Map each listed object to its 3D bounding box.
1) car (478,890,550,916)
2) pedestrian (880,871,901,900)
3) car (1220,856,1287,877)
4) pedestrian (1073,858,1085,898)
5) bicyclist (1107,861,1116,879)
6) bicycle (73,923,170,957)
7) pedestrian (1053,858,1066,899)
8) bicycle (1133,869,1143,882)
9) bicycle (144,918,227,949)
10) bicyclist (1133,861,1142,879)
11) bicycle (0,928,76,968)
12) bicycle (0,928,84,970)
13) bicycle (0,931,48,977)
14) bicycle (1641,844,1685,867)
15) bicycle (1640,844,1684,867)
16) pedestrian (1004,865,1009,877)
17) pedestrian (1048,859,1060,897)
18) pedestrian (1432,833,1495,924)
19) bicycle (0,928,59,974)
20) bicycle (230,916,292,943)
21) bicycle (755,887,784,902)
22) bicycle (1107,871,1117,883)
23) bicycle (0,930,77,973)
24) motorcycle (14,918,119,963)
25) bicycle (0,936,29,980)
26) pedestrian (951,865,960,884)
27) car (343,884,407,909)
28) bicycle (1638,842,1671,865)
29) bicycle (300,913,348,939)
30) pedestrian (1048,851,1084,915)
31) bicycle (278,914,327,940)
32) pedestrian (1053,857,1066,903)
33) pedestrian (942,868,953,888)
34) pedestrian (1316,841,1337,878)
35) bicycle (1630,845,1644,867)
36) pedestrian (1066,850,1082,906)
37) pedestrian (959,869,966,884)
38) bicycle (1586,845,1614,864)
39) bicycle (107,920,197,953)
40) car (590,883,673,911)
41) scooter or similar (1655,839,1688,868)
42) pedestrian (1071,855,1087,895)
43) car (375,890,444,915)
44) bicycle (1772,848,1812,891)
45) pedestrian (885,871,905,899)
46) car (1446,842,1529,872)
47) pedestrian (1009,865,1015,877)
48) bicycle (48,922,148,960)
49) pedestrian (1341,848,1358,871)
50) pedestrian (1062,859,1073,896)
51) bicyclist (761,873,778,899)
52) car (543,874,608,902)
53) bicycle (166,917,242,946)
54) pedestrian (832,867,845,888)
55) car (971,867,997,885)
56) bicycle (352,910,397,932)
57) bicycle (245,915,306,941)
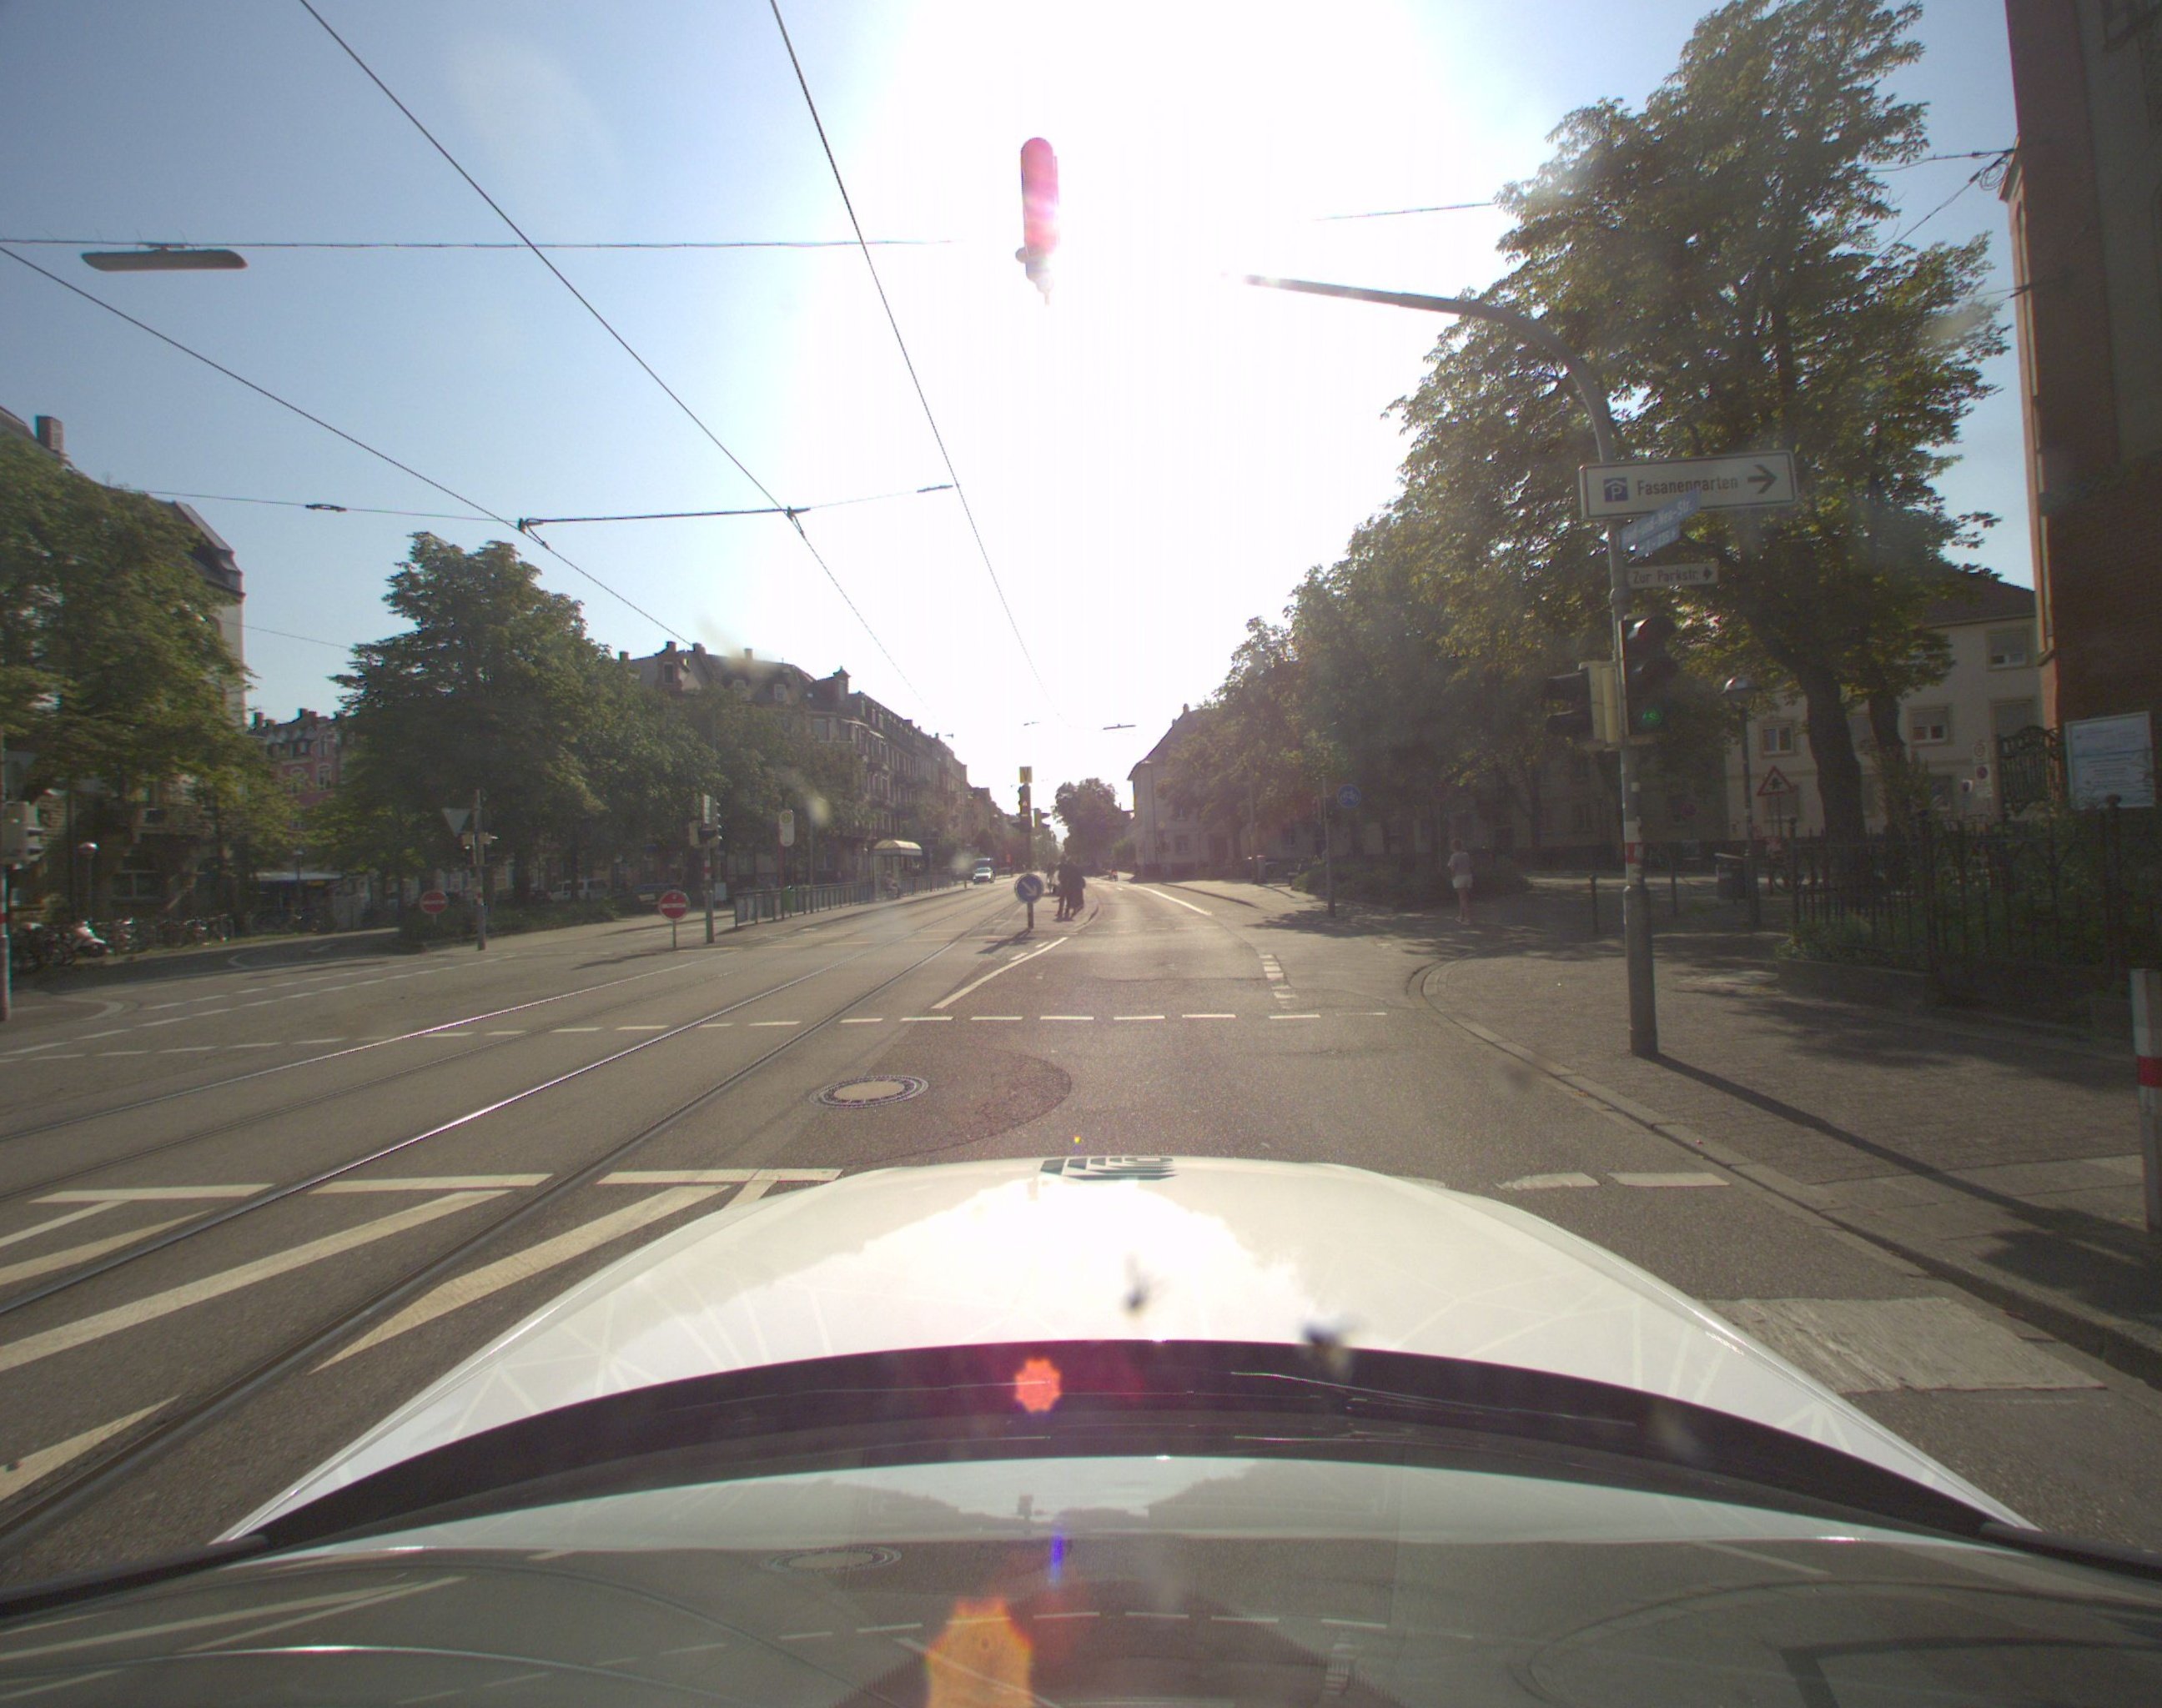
[{"bbox_3d":[-39.319,3.397,56.468,4.284,1.569,2.011,-3,-1,22],"label":"car"},{"bbox_3d":[-9.210,1.505,39.448,0.826,1.359,0.775,-3,-1,-4],"label":"pedestrian"},{"bbox_3d":[12.537,0.911,59.442,4.280,1.320,2.013,-3,-1,39],"label":"car"},{"bbox_3d":[-0.086,1.068,36.617,0.502,1.759,0.534,0,1,0],"label":"pedestrian"},{"bbox_3d":[2.567,1.332,68.030,0.627,1.507,0.678,-3,-1,-2],"label":"bicyclist"},{"bbox_3d":[-31.389,2.805,26.679,1.919,0.935,0.730,-1,-2,-34],"label":"bicycle"},{"bbox_3d":[-0.943,1.082,35.810,0.541,1.759,0.534,0,1,0],"label":"pedestrian"},{"bbox_3d":[4.437,1.643,63.467,0.556,0.978,1.855,-3,-1,-1],"label":"bicycle"},{"bbox_3d":[-32.340,2.858,29.441,1.908,0.980,0.679,-1,-2,-34],"label":"bicycle"},{"bbox_3d":[4.411,1.230,63.487,0.556,1.417,0.871,-3,-1,-1],"label":"bicyclist"},{"bbox_3d":[-28.951,2.583,22.226,1.814,0.977,0.652,-1,-2,-41],"label":"bicycle"},{"bbox_3d":[-28.091,2.533,21.714,1.814,0.983,0.652,-1,-2,-41],"label":"bicycle"},{"bbox_3d":[-25.304,2.345,18.727,0.562,1.003,1.890,-4,-2,36],"label":"bicycle"},{"bbox_3d":[26.779,0.071,37.482,1.539,0.978,0.427,-3,-1,15],"label":"bicycle"},{"bbox_3d":[26.945,0.055,37.785,1.539,0.978,0.427,-3,-1,15],"label":"bicycle"},{"bbox_3d":[-11.735,2.684,128.542,0.750,1.731,0.769,-3,-1,-9],"label":"pedestrian"},{"bbox_3d":[-1.274,1.118,38.037,0.530,1.759,0.545,0,1,1],"label":"pedestrian"},{"bbox_3d":[7.583,0.483,16.157,0.750,1.731,0.769,-3,-1,-9],"label":"pedestrian"},{"bbox_3d":[-26.368,2.401,19.750,1.888,1.034,0.563,-1,-2,-39],"label":"bicycle"},{"bbox_3d":[-35.068,3.211,34.848,1.771,0.978,0.516,-3,-1,-22],"label":"bicycle"},{"bbox_3d":[-23.063,2.973,60.324,1.954,0.978,0.490,-2,-1,-45],"label":"bicycle"},{"bbox_3d":[2.588,1.892,68.024,0.627,0.978,1.769,-3,-1,-1],"label":"bicycle"},{"bbox_3d":[-27.232,2.506,20.879,1.814,0.984,0.563,-1,-2,-41],"label":"bicycle"},{"bbox_3d":[-30.494,2.587,24.511,1.882,1.154,0.601,-1,-2,-34],"label":"motorcycle"},{"bbox_3d":[-24.253,2.326,17.711,0.473,0.920,1.619,-3,-2,30],"label":"bicycle"},{"bbox_3d":[-12.065,1.990,78.419,0.750,1.731,0.769,-3,-1,-9],"label":"pedestrian"},{"bbox_3d":[-59.087,3.544,68.170,3.959,1.828,2.007,-3,-1,12],"label":"car"},{"bbox_3d":[27.603,-0.007,39.165,1.555,1.039,0.423,-3,-1,-19],"label":"bicycle"},{"bbox_3d":[-33.592,3.185,36.155,0.423,0.978,1.770,-3,-1,0],"label":"bicycle"},{"bbox_3d":[-0.417,0.794,22.837,0.693,1.725,0.753,1,2,33],"label":"pedestrian"},{"bbox_3d":[-33.964,3.187,35.567,0.423,0.978,1.770,-3,-1,0],"label":"bicycle"},{"bbox_3d":[-0.834,1.012,31.802,0.502,1.759,0.534,0,1,0],"label":"pedestrian"},{"bbox_3d":[-12.002,2.168,73.148,0.747,1.731,0.772,-3,-1,2],"label":"pedestrian"},{"bbox_3d":[12.142,0.264,40.260,0.884,1.740,0.780,-3,-1,18],"label":"pedestrian"},{"bbox_3d":[26.679,0.100,39.047,0.420,0.978,1.566,-3,-1,38],"label":"bicycle"},{"bbox_3d":[-0.222,0.799,27.103,0.502,1.834,0.534,0,1,0],"label":"pedestrian"},{"bbox_3d":[-13.892,2.697,95.797,0.750,1.731,0.769,-3,-1,-9],"label":"pedestrian"},{"bbox_3d":[27.934,0.041,43.822,0.423,0.978,1.554,-3,-1,-2],"label":"bicycle"},{"bbox_3d":[-31.994,2.828,28.080,1.908,0.980,0.679,-1,-2,-34],"label":"bicycle"},{"bbox_3d":[-29.921,2.864,54.310,4.319,1.569,1.995,-3,-1,-8],"label":"car"},{"bbox_3d":[26.798,-0.028,36.956,1.059,1.197,0.462,-7,-2,32],"label":"scooter or similar"},{"bbox_3d":[-0.084,0.932,36.001,0.706,1.759,0.534,0,1,0],"label":"pedestrian"},{"bbox_3d":[-49.519,3.588,60.075,4.284,1.569,2.011,-3,-1,21],"label":"car"},{"bbox_3d":[17.347,0.364,19.855,1.779,0.978,0.421,-2,-1,-40],"label":"bicycle"},{"bbox_3d":[-9.227,1.521,40.425,0.826,1.359,0.775,-3,-1,-4],"label":"pedestrian"},{"bbox_3d":[21.373,0.190,43.009,1.855,1.418,3.985,-3,-1,-11],"label":"car"},{"bbox_3d":[-10.161,2.520,120.624,0.750,1.731,0.769,-3,-1,-9],"label":"pedestrian"},{"bbox_3d":[-30.795,2.712,25.560,1.886,1.027,0.657,-1,-2,-34],"label":"bicycle"},{"bbox_3d":[20.937,0.451,63.538,0.780,1.740,0.883,-2,-1,-42],"label":"pedestrian"},{"bbox_3d":[-0.659,1.114,38.617,0.502,1.759,0.534,0,1,0],"label":"pedestrian"},{"bbox_3d":[-23.088,2.355,60.337,0.995,1.857,0.487,-2,-1,-45],"label":"bicyclist"},{"bbox_3d":[-37.042,2.512,59.653,3.952,1.828,2.011,-3,-1,21],"label":"car"},{"bbox_3d":[-33.122,2.926,30.779,1.877,0.935,0.635,-2,-2,-18],"label":"bicycle"},{"bbox_3d":[-20.573,2.001,69.112,0.775,1.731,0.744,-2,-1,-38],"label":"pedestrian"},{"bbox_3d":[-9.534,2.129,80.200,1.793,1.653,3.646,-3,-1,4],"label":"car"},{"bbox_3d":[-34.227,3.250,39.469,1.755,0.978,0.606,-3,-1,7],"label":"bicycle"},{"bbox_3d":[-35.198,3.221,35.624,1.772,0.978,0.600,-3,-1,-23],"label":"bicycle"}]
